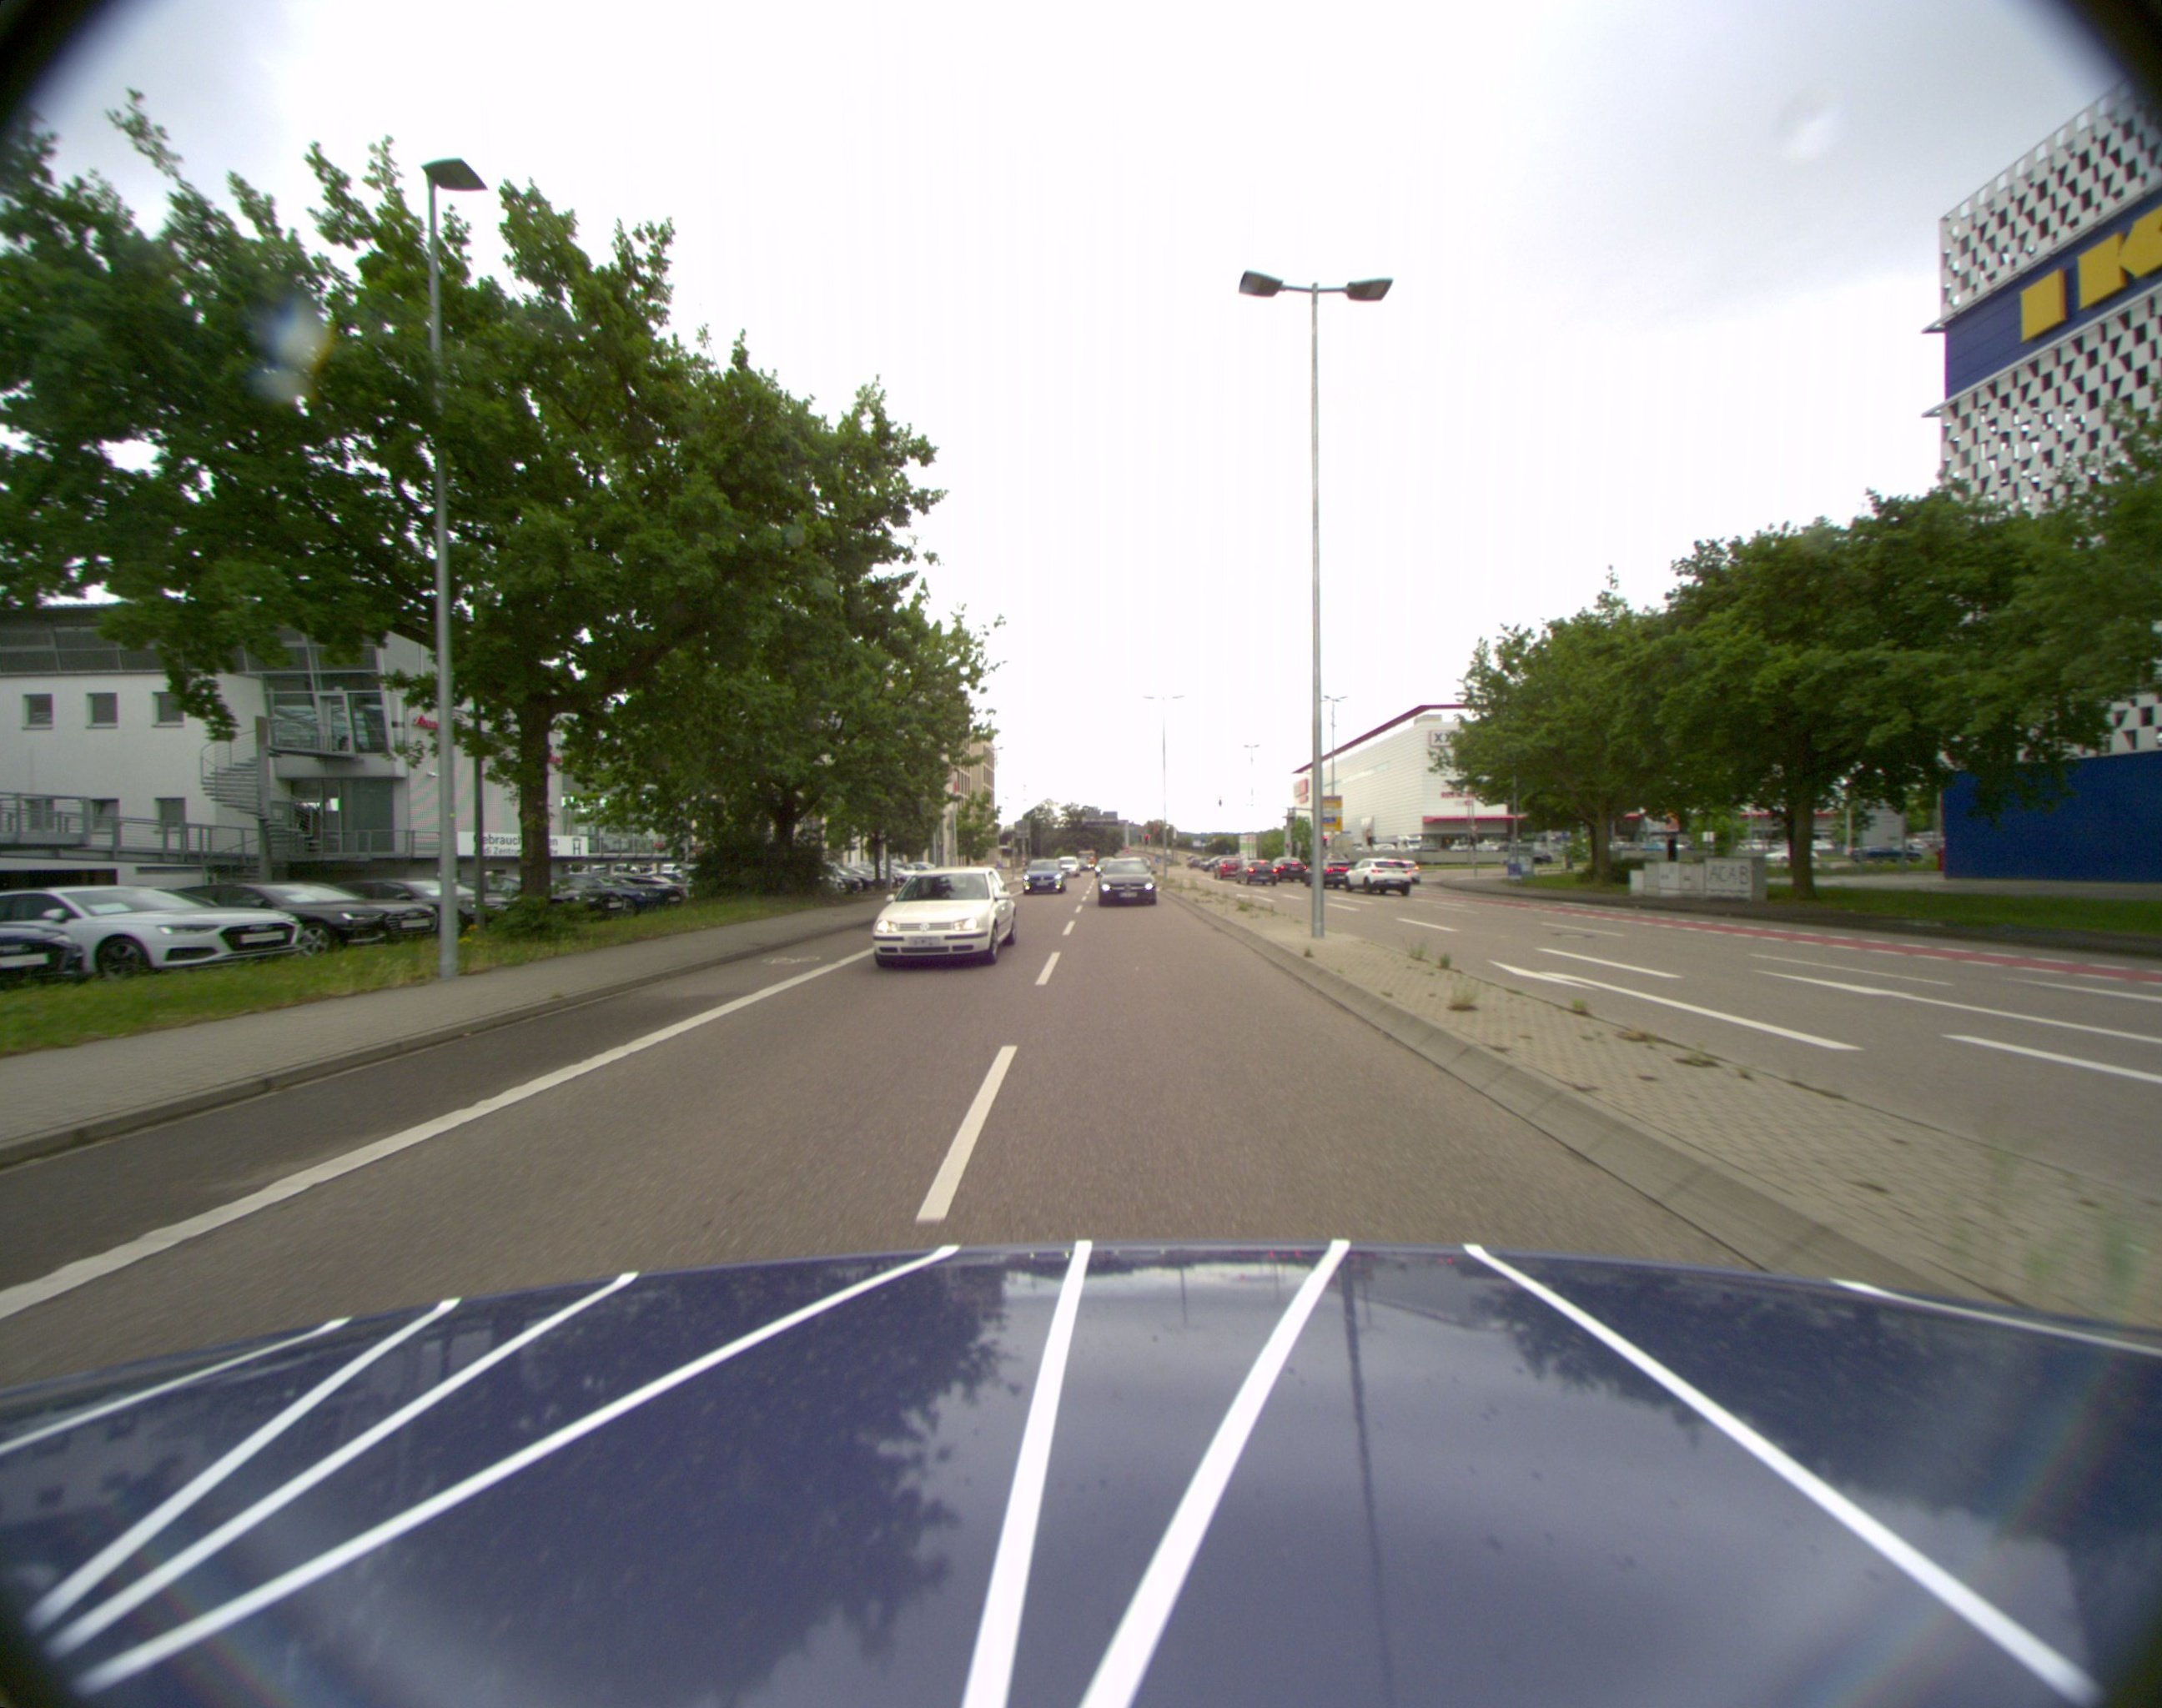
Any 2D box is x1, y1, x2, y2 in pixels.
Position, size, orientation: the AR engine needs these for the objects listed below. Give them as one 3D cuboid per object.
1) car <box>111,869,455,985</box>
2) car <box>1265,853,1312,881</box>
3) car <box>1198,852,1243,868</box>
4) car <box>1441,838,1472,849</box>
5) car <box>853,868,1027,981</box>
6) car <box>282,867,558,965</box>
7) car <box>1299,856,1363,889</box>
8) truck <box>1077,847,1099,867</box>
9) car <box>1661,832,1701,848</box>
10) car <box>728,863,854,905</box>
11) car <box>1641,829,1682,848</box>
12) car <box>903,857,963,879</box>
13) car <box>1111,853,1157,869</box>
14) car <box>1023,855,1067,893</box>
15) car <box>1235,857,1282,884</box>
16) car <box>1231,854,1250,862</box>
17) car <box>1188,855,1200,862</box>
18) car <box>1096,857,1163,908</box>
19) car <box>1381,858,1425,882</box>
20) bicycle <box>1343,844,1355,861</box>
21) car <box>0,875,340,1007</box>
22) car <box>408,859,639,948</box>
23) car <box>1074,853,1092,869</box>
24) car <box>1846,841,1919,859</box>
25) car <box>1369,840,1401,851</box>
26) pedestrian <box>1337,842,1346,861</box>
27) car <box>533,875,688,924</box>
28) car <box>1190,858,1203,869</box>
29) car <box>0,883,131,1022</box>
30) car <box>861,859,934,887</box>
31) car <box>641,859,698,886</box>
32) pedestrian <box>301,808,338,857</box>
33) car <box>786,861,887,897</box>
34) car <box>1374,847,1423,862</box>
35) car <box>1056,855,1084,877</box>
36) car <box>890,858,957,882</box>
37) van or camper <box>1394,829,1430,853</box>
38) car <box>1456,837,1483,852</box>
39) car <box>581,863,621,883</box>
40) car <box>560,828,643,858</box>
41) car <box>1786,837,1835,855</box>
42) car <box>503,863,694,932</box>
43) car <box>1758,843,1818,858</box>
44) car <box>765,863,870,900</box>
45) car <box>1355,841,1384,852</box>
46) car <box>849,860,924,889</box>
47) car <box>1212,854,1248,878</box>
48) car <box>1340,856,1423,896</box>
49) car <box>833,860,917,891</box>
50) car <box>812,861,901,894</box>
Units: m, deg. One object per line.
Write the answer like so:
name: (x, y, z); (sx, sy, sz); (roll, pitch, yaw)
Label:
car: (-13.793, 1.222, 13.313); (4.073, 1.477, 1.819); (-6, -2, 2)
car: (13.648, 0.823, 50.276); (1.885, 1.628, 4.333); (2, 1, 0)
car: (14.270, 0.623, 77.858); (4.215, 1.564, 1.803); (-2, -2, 2)
car: (61.775, -1.700, 125.042); (4.255, 1.665, 1.778); (-2, -1, 5)
car: (-2.059, 0.990, 12.289); (1.837, 1.469, 4.006); (-2, -1, 3)
car: (-13.928, 1.273, 16.181); (4.218, 1.477, 1.826); (-7, -2, 2)
car: (13.274, 0.939, 40.676); (1.885, 1.536, 4.597); (1, 1, 0)
truck: (1.073, 0.502, 108.808); (2.818, 2.622, 6.678); (-2, -2, 3)
car: (83.734, -1.961, 106.078); (3.996, 2.001, 2.001); (-2, -1, 3)
car: (-12.461, 1.272, 32.876); (4.660, 1.463, 1.848); (-3, -1, 2)
car: (71.537, -1.904, 93.675); (1.998, 2.001, 4.002); (-2, -2, 3)
car: (-11.686, 1.099, 60.157); (4.225, 1.477, 1.875); (-3, 1, 3)
car: (5.108, 0.660, 72.701); (4.227, 1.407, 1.798); (0, -2, -36)
car: (-1.594, 0.931, 35.118); (1.847, 1.612, 4.333); (-2, -2, -1)
car: (10.122, 0.915, 43.652); (1.861, 1.453, 4.333); (1, -1, 2)
car: (36.574, 0.925, 174.442); (4.191, 1.600, 1.724); (-2, -2, 10)
car: (22.567, 0.962, 151.924); (1.816, 1.402, 4.878); (0, -1, 0)
car: (1.482, 0.904, 24.582); (1.859, 1.426, 4.197); (-3, -2, 0)
car: (20.817, 1.004, 49.246); (1.860, 1.453, 4.336); (1, -1, 12)
bicycle: (22.422, -0.127, 63.489); (0.595, 1.388, 1.937); (1, 2, 29)
car: (-13.721, 1.244, 10.905); (4.206, 1.477, 1.960); (-6, -2, 2)
car: (-13.737, 1.198, 18.888); (4.247, 1.592, 1.877); (-7, -2, 2)
car: (0.234, 0.877, 92.918); (1.998, 1.758, 4.424); (-2, -2, 2)
car: (67.211, -0.342, 63.759); (4.113, 1.479, 1.702); (0, 1, 5)
car: (47.809, -1.331, 119.673); (4.255, 1.665, 1.778); (-2, -1, 5)
pedestrian: (21.829, -0.224, 63.699); (0.639, 1.617, 0.693); (0, 2, 27)
car: (-16.375, 1.549, 26.617); (1.764, 1.489, 4.286); (-3, -2, 42)
car: (18.254, 1.503, 120.555); (1.693, 1.519, 3.929); (-2, -2, 5)
car: (-13.742, 1.275, 8.346); (4.191, 1.477, 1.978); (-6, -2, 3)
car: (-11.894, 1.205, 49.371); (4.194, 1.477, 1.853); (-4, 0, 3)
car: (-35.014, 1.526, 64.802); (1.998, 2.002, 4.907); (-2, 2, 1)
pedestrian: (-31.934, -0.897, 31.865); (0.746, 2.001, 0.800); (-2, -1, 1)
car: (-12.276, 1.256, 38.336); (4.376, 1.462, 1.895); (-4, 0, 2)
car: (32.299, 0.064, 77.431); (4.214, 1.407, 1.804); (-2, -2, 5)
car: (-0.826, 0.987, 60.710); (1.798, 1.615, 4.377); (-2, -2, 4)
car: (-11.796, 1.190, 57.270); (4.513, 1.477, 2.069); (-4, 1, 1)
van or camper: (48.454, -1.878, 111.442); (2.711, 3.116, 7.241); (-2, -2, 6)
car: (56.209, -1.362, 109.973); (1.868, 1.935, 3.870); (-2, -2, 2)
car: (-42.004, 1.684, 66.459); (1.926, 1.649, 4.434); (-3, 1, -45)
car: (-29.726, -0.679, 47.187); (3.997, 1.651, 1.826); (-2, -1, 1)
car: (90.193, -0.997, 94.060); (1.998, 2.001, 4.329); (-2, -2, 3)
car: (-13.566, 1.200, 21.529); (4.133, 1.385, 1.872); (-7, -2, 2)
car: (73.206, -0.336, 78.720); (4.214, 1.407, 1.804); (-2, -2, 5)
car: (-12.291, 1.271, 35.641); (4.164, 1.382, 1.903); (-4, 0, 2)
car: (48.872, -1.203, 128.907); (4.255, 1.665, 1.778); (-2, -1, 5)
car: (-11.904, 1.223, 46.691); (4.040, 1.477, 1.877); (-4, 0, 3)
car: (10.318, 0.798, 52.845); (1.739, 1.479, 4.078); (0, 1, 2)
car: (13.502, 0.944, 34.446); (1.998, 1.585, 4.578); (3, 0, 2)
car: (-11.914, 1.225, 44.084); (4.228, 1.477, 1.872); (-4, 0, 3)
car: (-12.129, 1.248, 41.261); (4.187, 1.477, 1.909); (-4, 0, 2)
